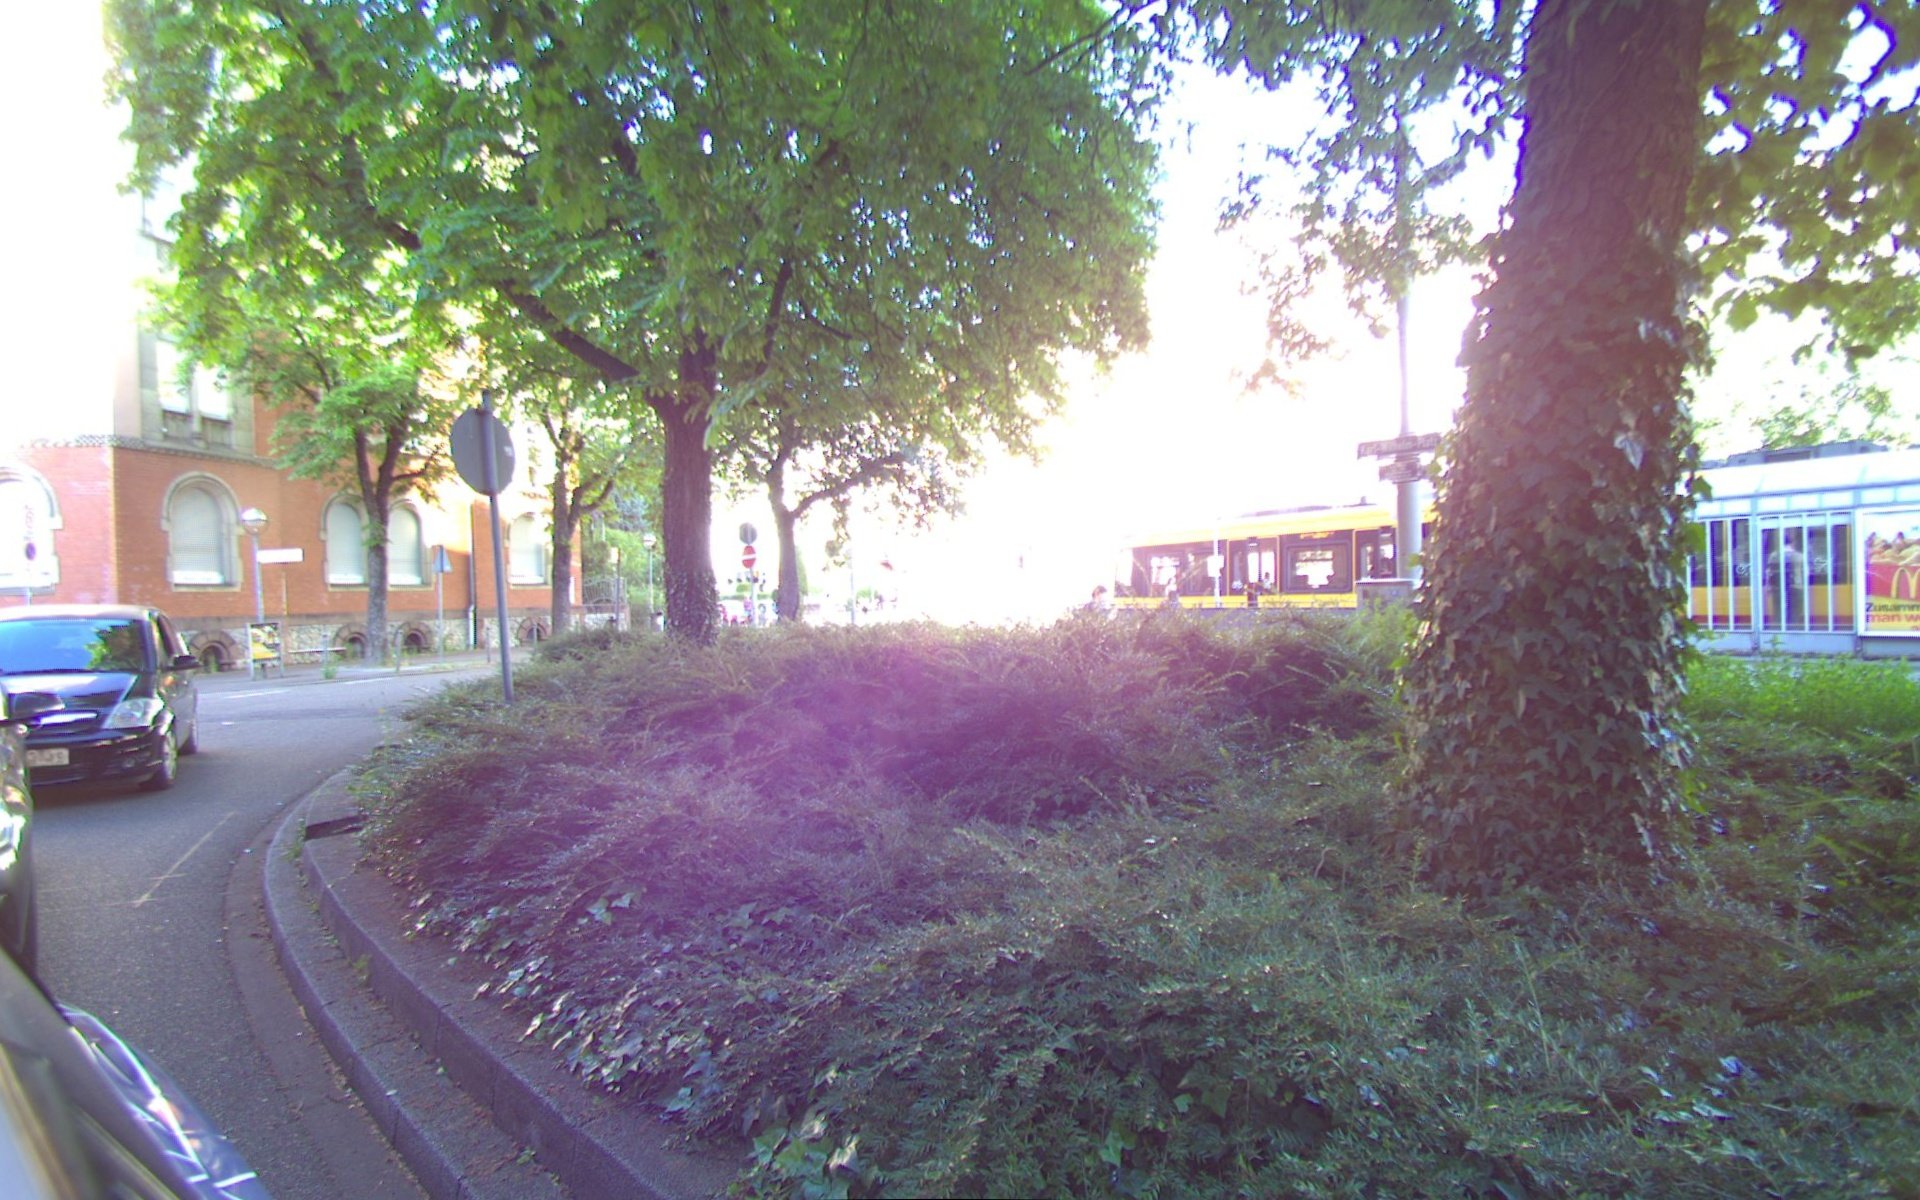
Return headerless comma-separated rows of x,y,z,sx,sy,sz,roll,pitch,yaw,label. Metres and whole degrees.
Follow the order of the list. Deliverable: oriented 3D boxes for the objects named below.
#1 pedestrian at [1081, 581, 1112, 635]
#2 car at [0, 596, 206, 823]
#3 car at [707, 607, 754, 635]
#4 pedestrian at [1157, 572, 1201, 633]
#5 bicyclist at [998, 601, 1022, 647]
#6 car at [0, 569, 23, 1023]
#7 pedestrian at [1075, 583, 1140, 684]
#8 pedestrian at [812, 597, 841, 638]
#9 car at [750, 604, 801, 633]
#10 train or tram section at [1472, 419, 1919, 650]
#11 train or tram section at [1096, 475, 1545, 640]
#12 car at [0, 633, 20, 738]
4.294,0.246,31.835,0.715,1.647,0.905,-4,1,-3,pedestrian
-7.961,0.838,9.076,1.652,1.640,3.698,-2,0,-33,car
-13.775,1.229,60.555,1.707,1.427,4.013,-2,2,-29,car
6.194,0.074,28.649,0.713,1.647,0.907,-4,1,-33,pedestrian
1.774,0.851,35.900,0.588,1.585,0.557,-2,0,-30,bicyclist
-5.431,0.736,4.530,1.768,1.590,4.264,-1,-1,-43,car
2.198,0.483,15.118,0.698,1.454,0.602,-2,0,-25,pedestrian
-5.626,0.718,42.613,0.722,1.647,0.897,-3,1,27,pedestrian
-9.801,0.950,53.534,1.707,1.428,4.013,-2,0,-25,car
15.603,-1.049,17.394,2.739,3.614,12.456,-2,0,-32,train or tram section
8.979,-0.887,28.115,2.727,3.584,12.718,-2,0,-32,train or tram section
-14.558,1.200,13.358,3.365,1.399,1.467,-2,0,11,car
